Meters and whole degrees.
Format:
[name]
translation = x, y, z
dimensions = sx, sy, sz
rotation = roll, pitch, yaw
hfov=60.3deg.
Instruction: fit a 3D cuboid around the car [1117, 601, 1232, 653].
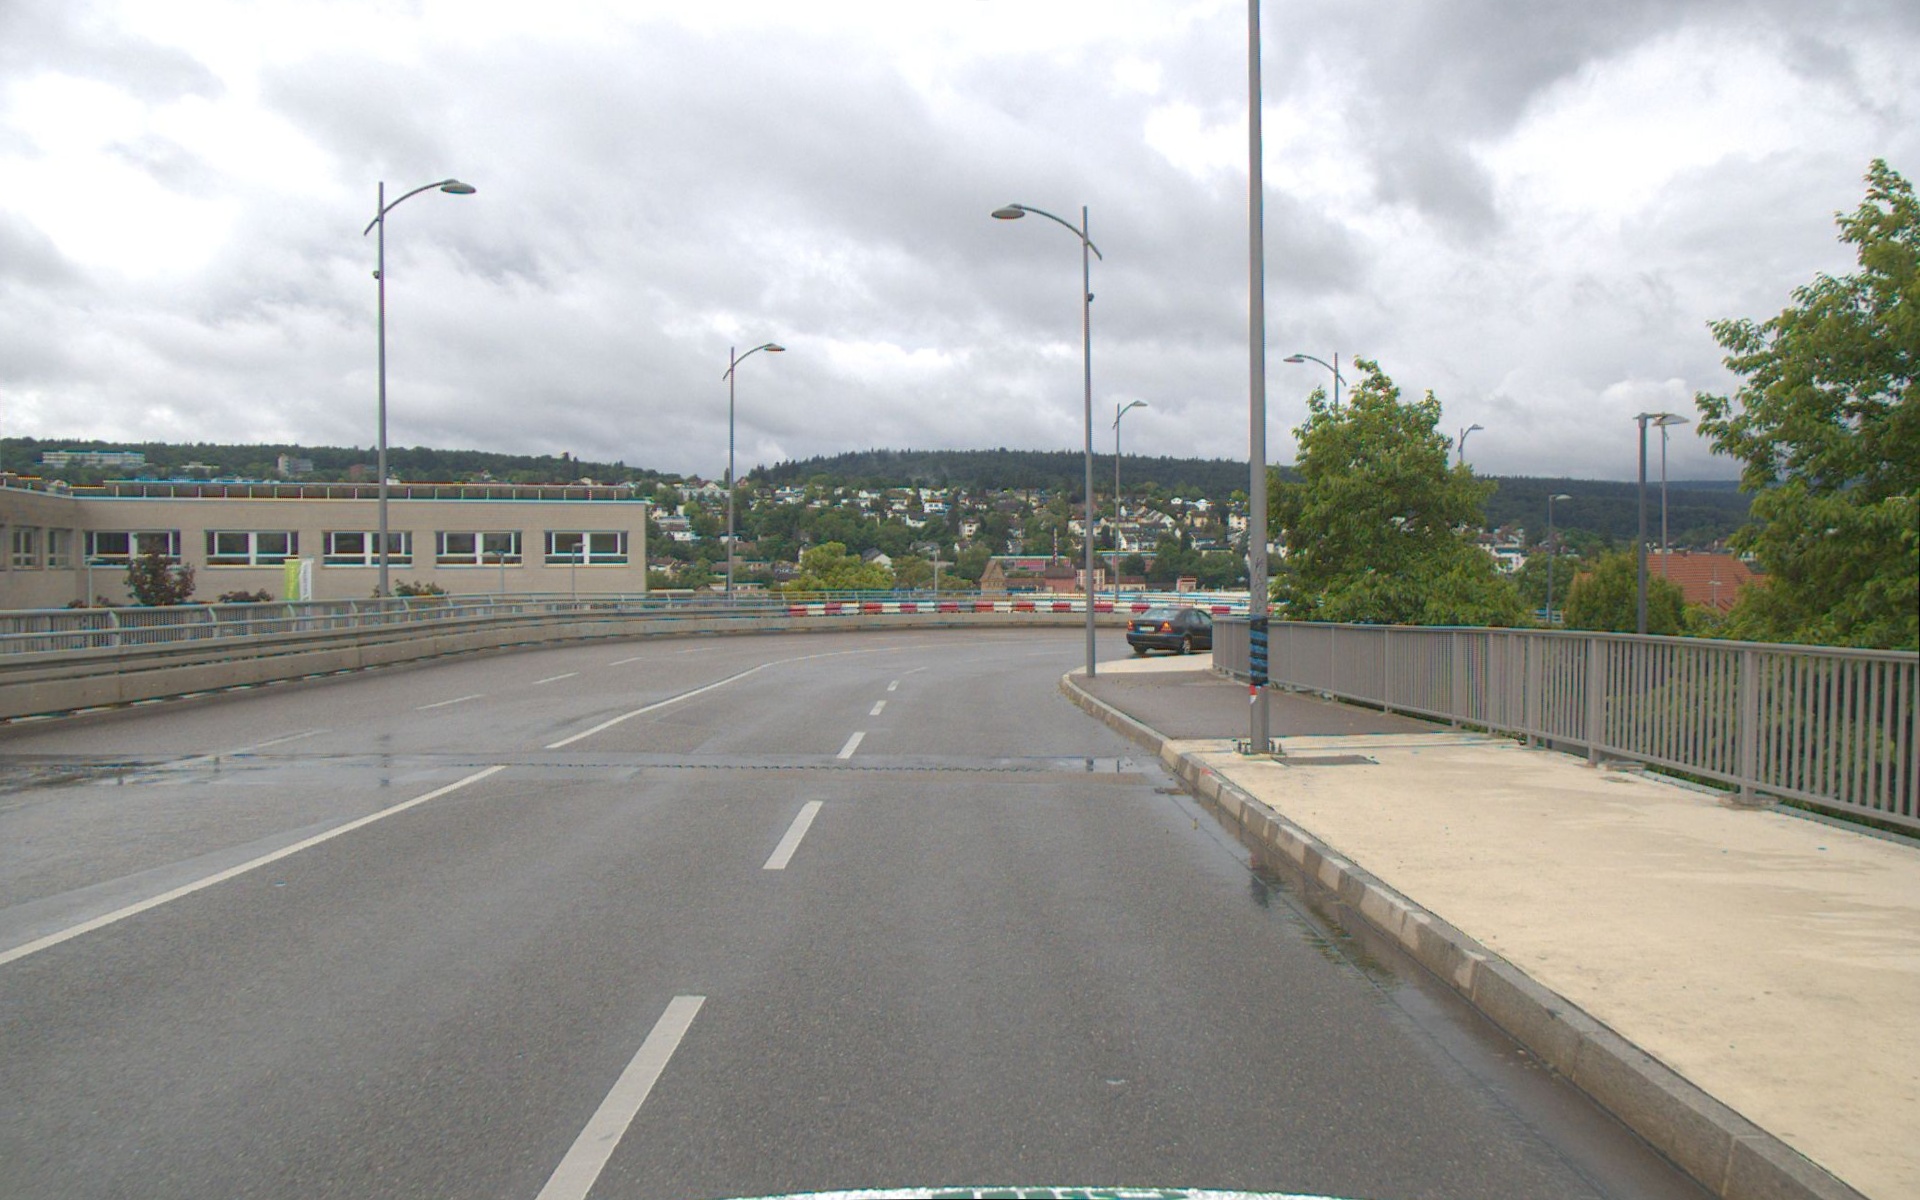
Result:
[car]
translation = 6.376, 0.773, 48.999
dimensions = 1.680, 1.444, 3.706
rotation = 1, 0, 40
